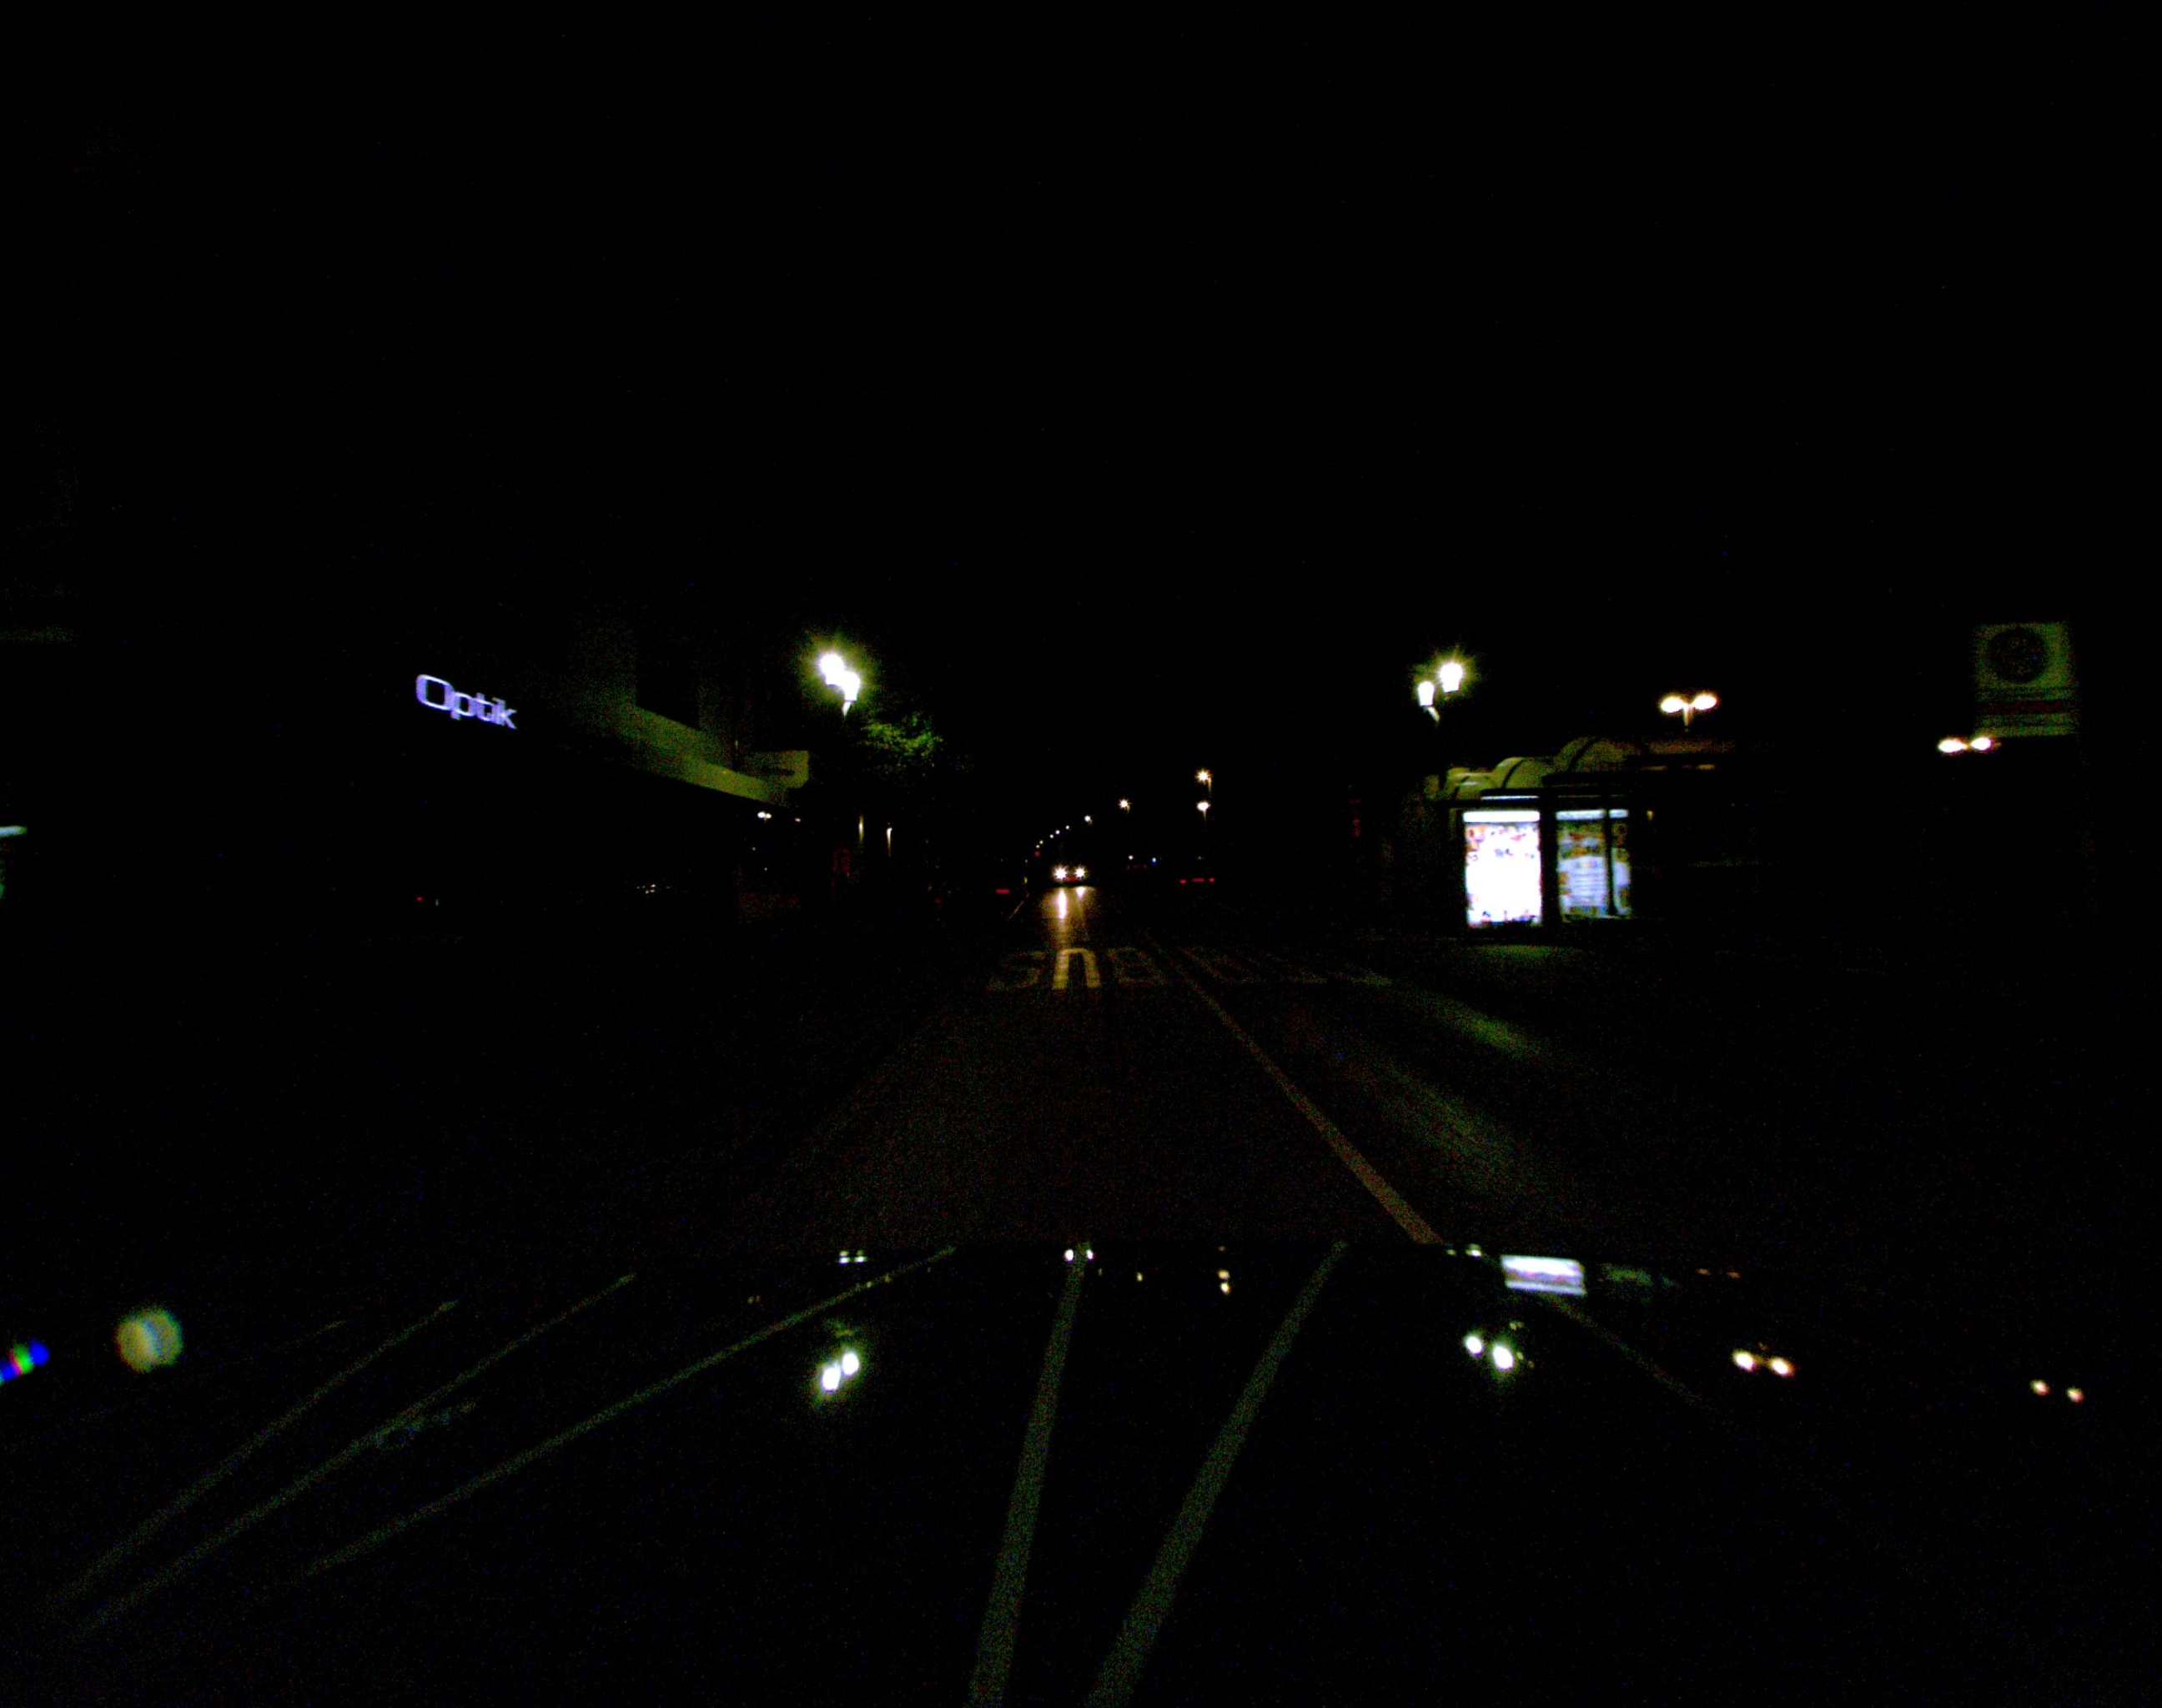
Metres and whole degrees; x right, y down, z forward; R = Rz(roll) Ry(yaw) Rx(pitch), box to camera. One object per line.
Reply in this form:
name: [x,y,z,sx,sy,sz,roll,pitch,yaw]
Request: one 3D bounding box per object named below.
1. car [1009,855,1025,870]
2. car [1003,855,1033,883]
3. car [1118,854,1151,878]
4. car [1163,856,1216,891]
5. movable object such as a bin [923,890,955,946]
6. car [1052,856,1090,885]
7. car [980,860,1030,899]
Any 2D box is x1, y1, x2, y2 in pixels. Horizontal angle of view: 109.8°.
car: [-7.093,0.940,84.103,1.643,1.458,3.774,-3,1,-5]
car: [-3.925,0.880,47.639,1.792,1.632,4.378,0,0,-4]
car: [3.692,0.797,53.019,1.697,1.515,3.688,-2,2,-6]
car: [5.018,0.884,35.602,1.696,1.428,4.127,-3,0,-2]
movable object such as a bin: [-2.606,1.167,13.947,0.525,0.932,0.629,-2,2,-11]
car: [-0.609,0.900,43.492,1.628,1.496,3.547,-2,1,-9]
car: [-3.047,0.996,31.231,1.863,1.434,4.592,0,0,-3]
